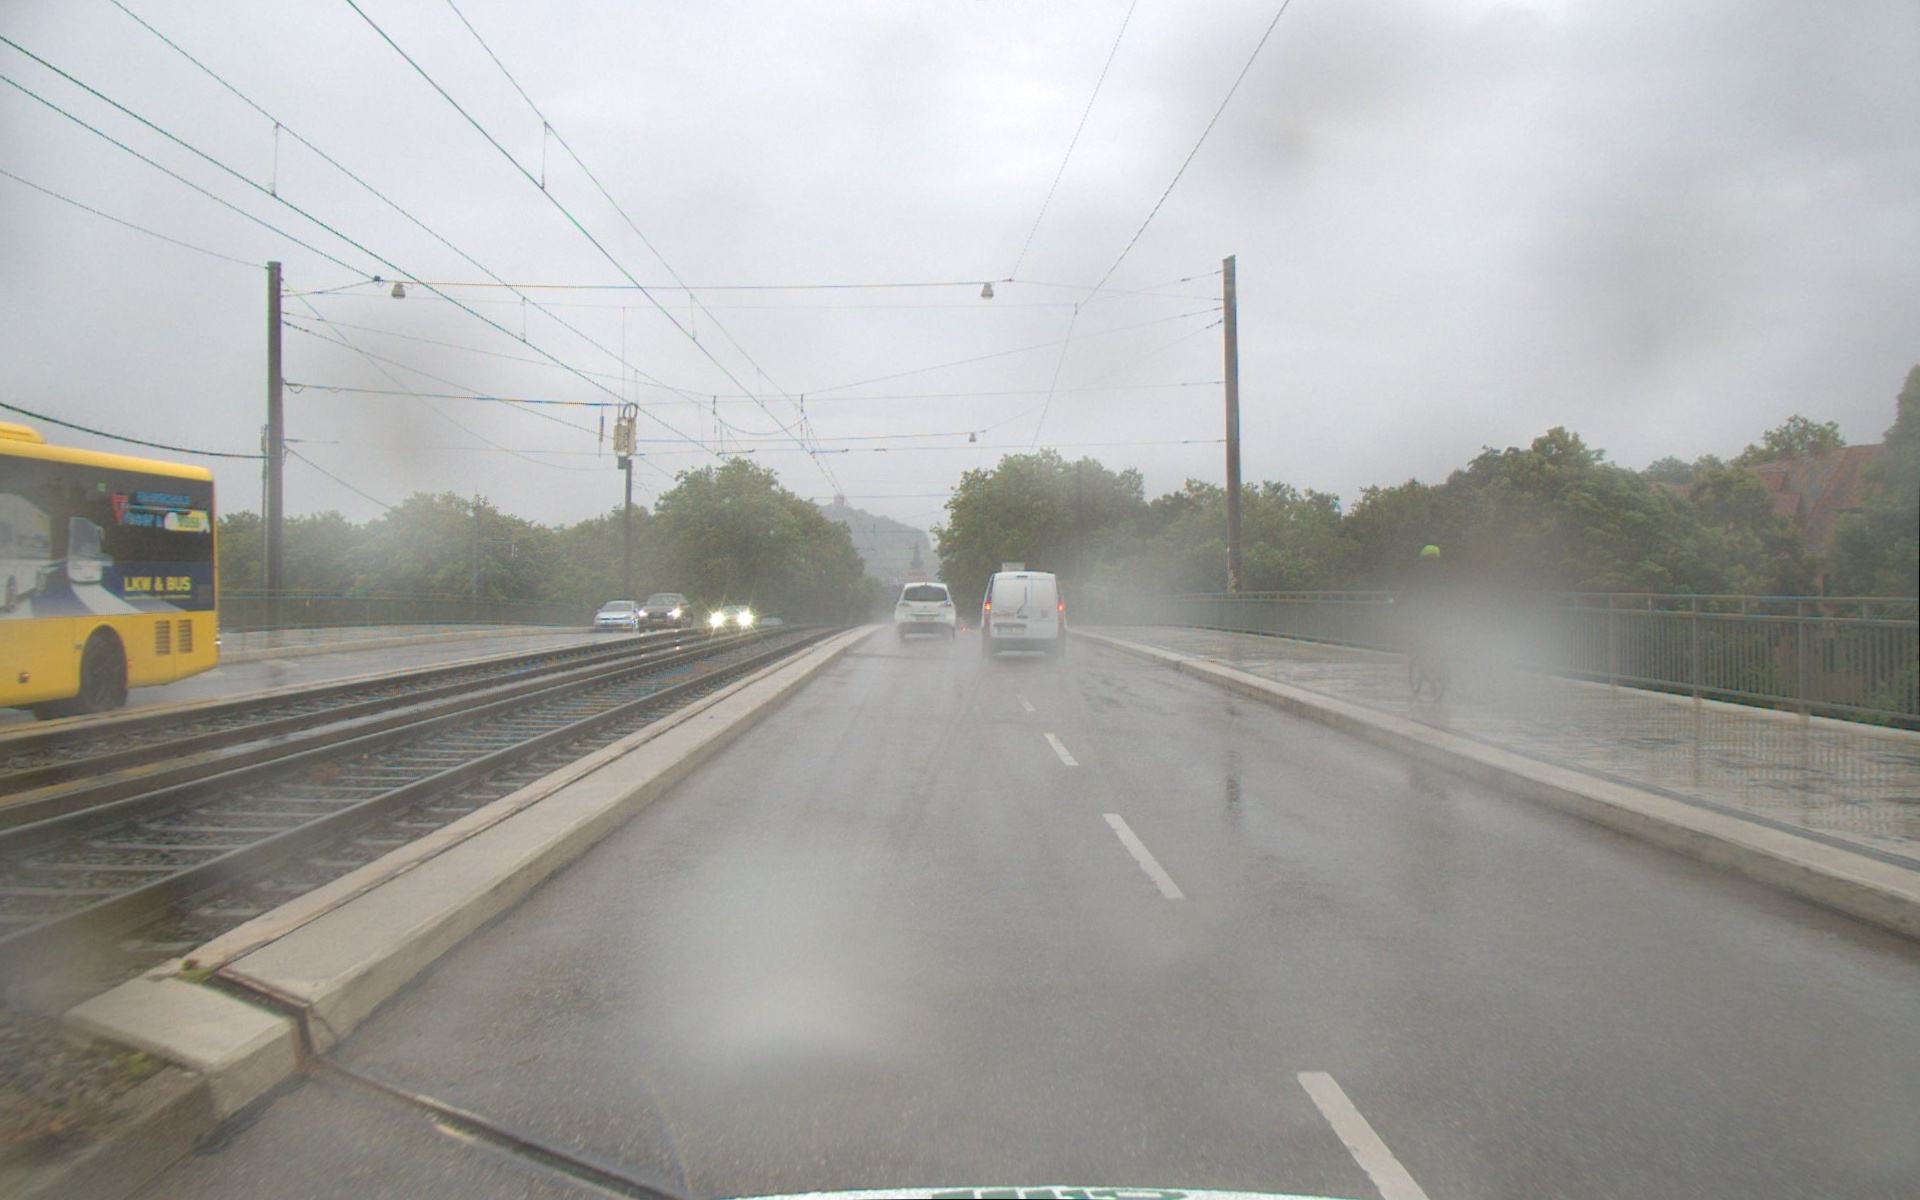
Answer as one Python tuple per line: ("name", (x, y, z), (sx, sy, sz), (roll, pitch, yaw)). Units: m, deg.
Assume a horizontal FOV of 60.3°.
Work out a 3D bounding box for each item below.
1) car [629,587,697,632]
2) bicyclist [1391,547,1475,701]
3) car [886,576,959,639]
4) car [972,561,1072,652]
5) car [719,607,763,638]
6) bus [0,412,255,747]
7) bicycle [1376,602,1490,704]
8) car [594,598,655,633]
("car", (-12.249, 0.428, 68.433), (1.953, 1.747, 4.940), (-2, -1, -1))
("bicyclist", (5.687, 0.289, 19.928), (0.711, 1.795, 0.949), (1, -2, -1))
("car", (-1.063, 0.259, 49.186), (1.952, 1.747, 4.000), (1, -1, 1))
("car", (1.283, 0.169, 34.938), (1.952, 1.757, 4.000), (1, -1, 1))
("car", (-11.768, 1.238, 89.176), (1.954, 1.535, 5.109), (-2, -1, -3))
("bus", (-11.073, -0.187, 17.441), (2.653, 3.399, 10.991), (-2, 1, -1))
("bicycle", (5.666, 0.608, 19.948), (0.708, 1.149, 2.167), (1, 0, -1))
("car", (-15.308, 0.740, 75.738), (1.953, 1.481, 4.618), (-2, -1, -2))
